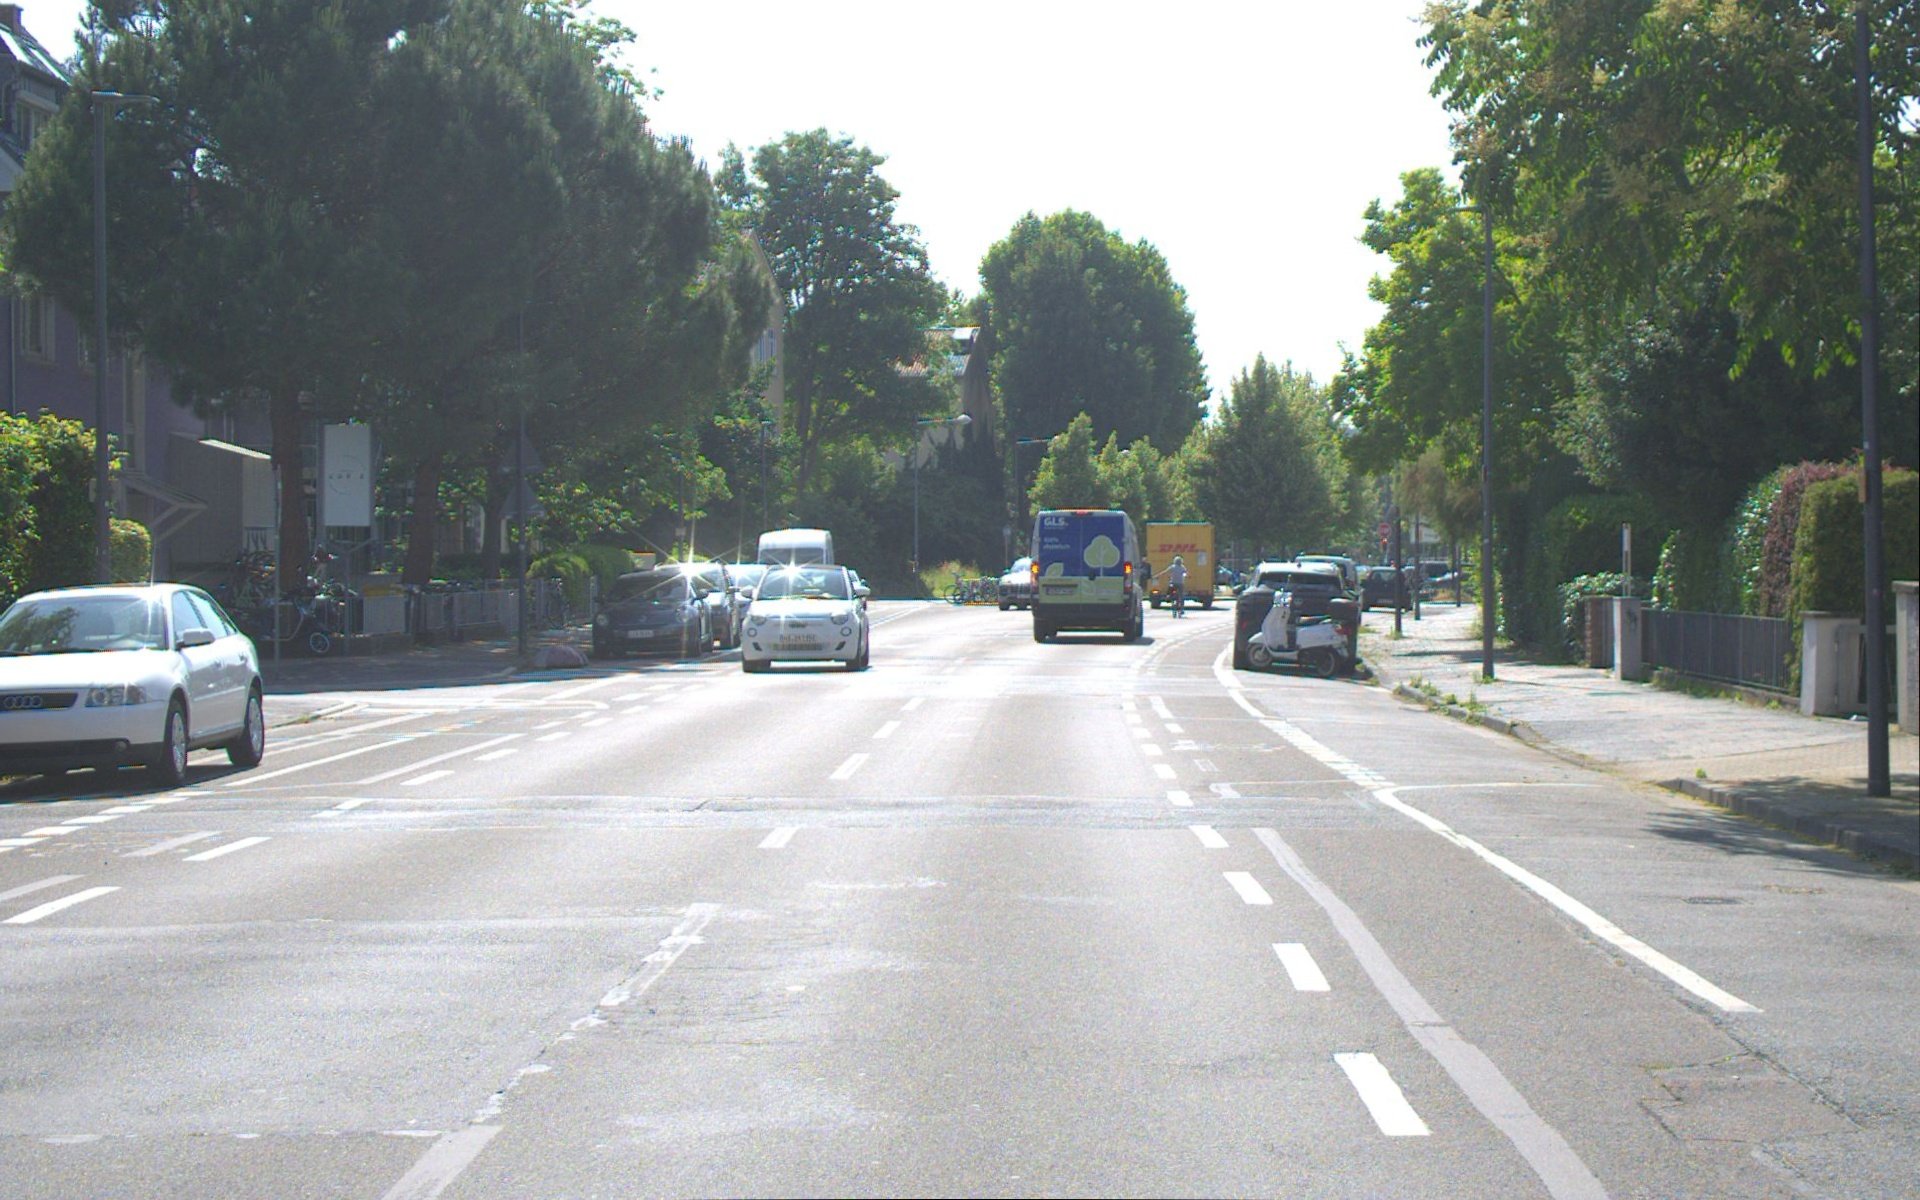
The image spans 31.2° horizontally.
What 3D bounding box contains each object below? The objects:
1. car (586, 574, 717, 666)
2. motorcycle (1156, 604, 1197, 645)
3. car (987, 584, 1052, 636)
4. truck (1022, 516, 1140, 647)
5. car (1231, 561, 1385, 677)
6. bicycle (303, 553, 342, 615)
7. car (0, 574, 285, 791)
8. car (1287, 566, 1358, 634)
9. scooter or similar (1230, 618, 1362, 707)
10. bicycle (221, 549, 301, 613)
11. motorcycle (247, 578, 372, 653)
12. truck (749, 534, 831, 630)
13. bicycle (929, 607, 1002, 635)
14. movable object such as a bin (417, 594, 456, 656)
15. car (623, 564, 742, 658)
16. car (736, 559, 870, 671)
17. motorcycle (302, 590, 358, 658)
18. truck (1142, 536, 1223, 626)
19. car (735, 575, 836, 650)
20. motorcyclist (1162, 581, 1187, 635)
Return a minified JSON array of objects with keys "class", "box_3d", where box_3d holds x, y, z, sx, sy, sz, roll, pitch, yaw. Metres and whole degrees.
[{"class":"car","box_3d":[-5.273,0.325,59.234,1.781,1.455,4.086,-3,0,1]},{"class":"motorcycle","box_3d":[6.034,0.685,96.100,1.056,1.119,2.992,0,0,2]},{"class":"car","box_3d":[1.954,0.314,111.975,1.994,1.652,4.604,0,0,2]},{"class":"truck","box_3d":[2.487,-0.352,69.510,2.272,2.563,4.391,0,0,3]},{"class":"car","box_3d":[5.376,0.293,52.669,1.786,1.632,4.467,2,0,12]},{"class":"bicycle","box_3d":[-12.245,-0.307,66.003,0.536,1.178,1.447,0,0,-18]},{"class":"car","box_3d":[-6.253,0.537,24.991,1.785,1.435,4.000,0,1,2]},{"class":"car","box_3d":[9.143,0.001,86.924,1.700,1.671,3.774,0,0,5]},{"class":"scooter or similar","box_3d":[4.853,0.905,49.789,0.718,1.150,1.796,4,0,-43]},{"class":"bicycle","box_3d":[-13.195,-0.367,64.920,0.538,1.177,1.443,2,2,43]},{"class":"motorcycle","box_3d":[-10.374,0.244,54.822,1.840,1.178,0.643,0,0,7]},{"class":"truck","box_3d":[-4.611,-0.489,94.027,2.080,2.529,5.467,0,0,-1]},{"class":"bicycle","box_3d":[0.201,0.807,130.984,2.687,1.044,1.026,0,0,-6]},{"class":"movable object such as a bin","box_3d":[-9.423,0.454,61.924,0.544,1.107,0.584,0,0,7]},{"class":"car","box_3d":[-5.231,0.185,65.187,1.908,1.671,4.259,-1,1,0]},{"class":"car","box_3d":[-2.246,0.225,50.043,1.732,1.536,4.000,-1,0,0]},{"class":"motorcycle","box_3d":[-11.088,0.425,60.544,0.537,1.178,1.446,0,0,7]},{"class":"truck","box_3d":[7.463,-0.603,114.878,2.215,2.936,5.684,0,0,9]},{"class":"car","box_3d":[-3.843,0.287,76.138,1.835,1.590,3.774,0,-1,3]},{"class":"motorcyclist","box_3d":[5.991,0.220,95.997,0.672,1.513,0.652,0,0,1]}]
